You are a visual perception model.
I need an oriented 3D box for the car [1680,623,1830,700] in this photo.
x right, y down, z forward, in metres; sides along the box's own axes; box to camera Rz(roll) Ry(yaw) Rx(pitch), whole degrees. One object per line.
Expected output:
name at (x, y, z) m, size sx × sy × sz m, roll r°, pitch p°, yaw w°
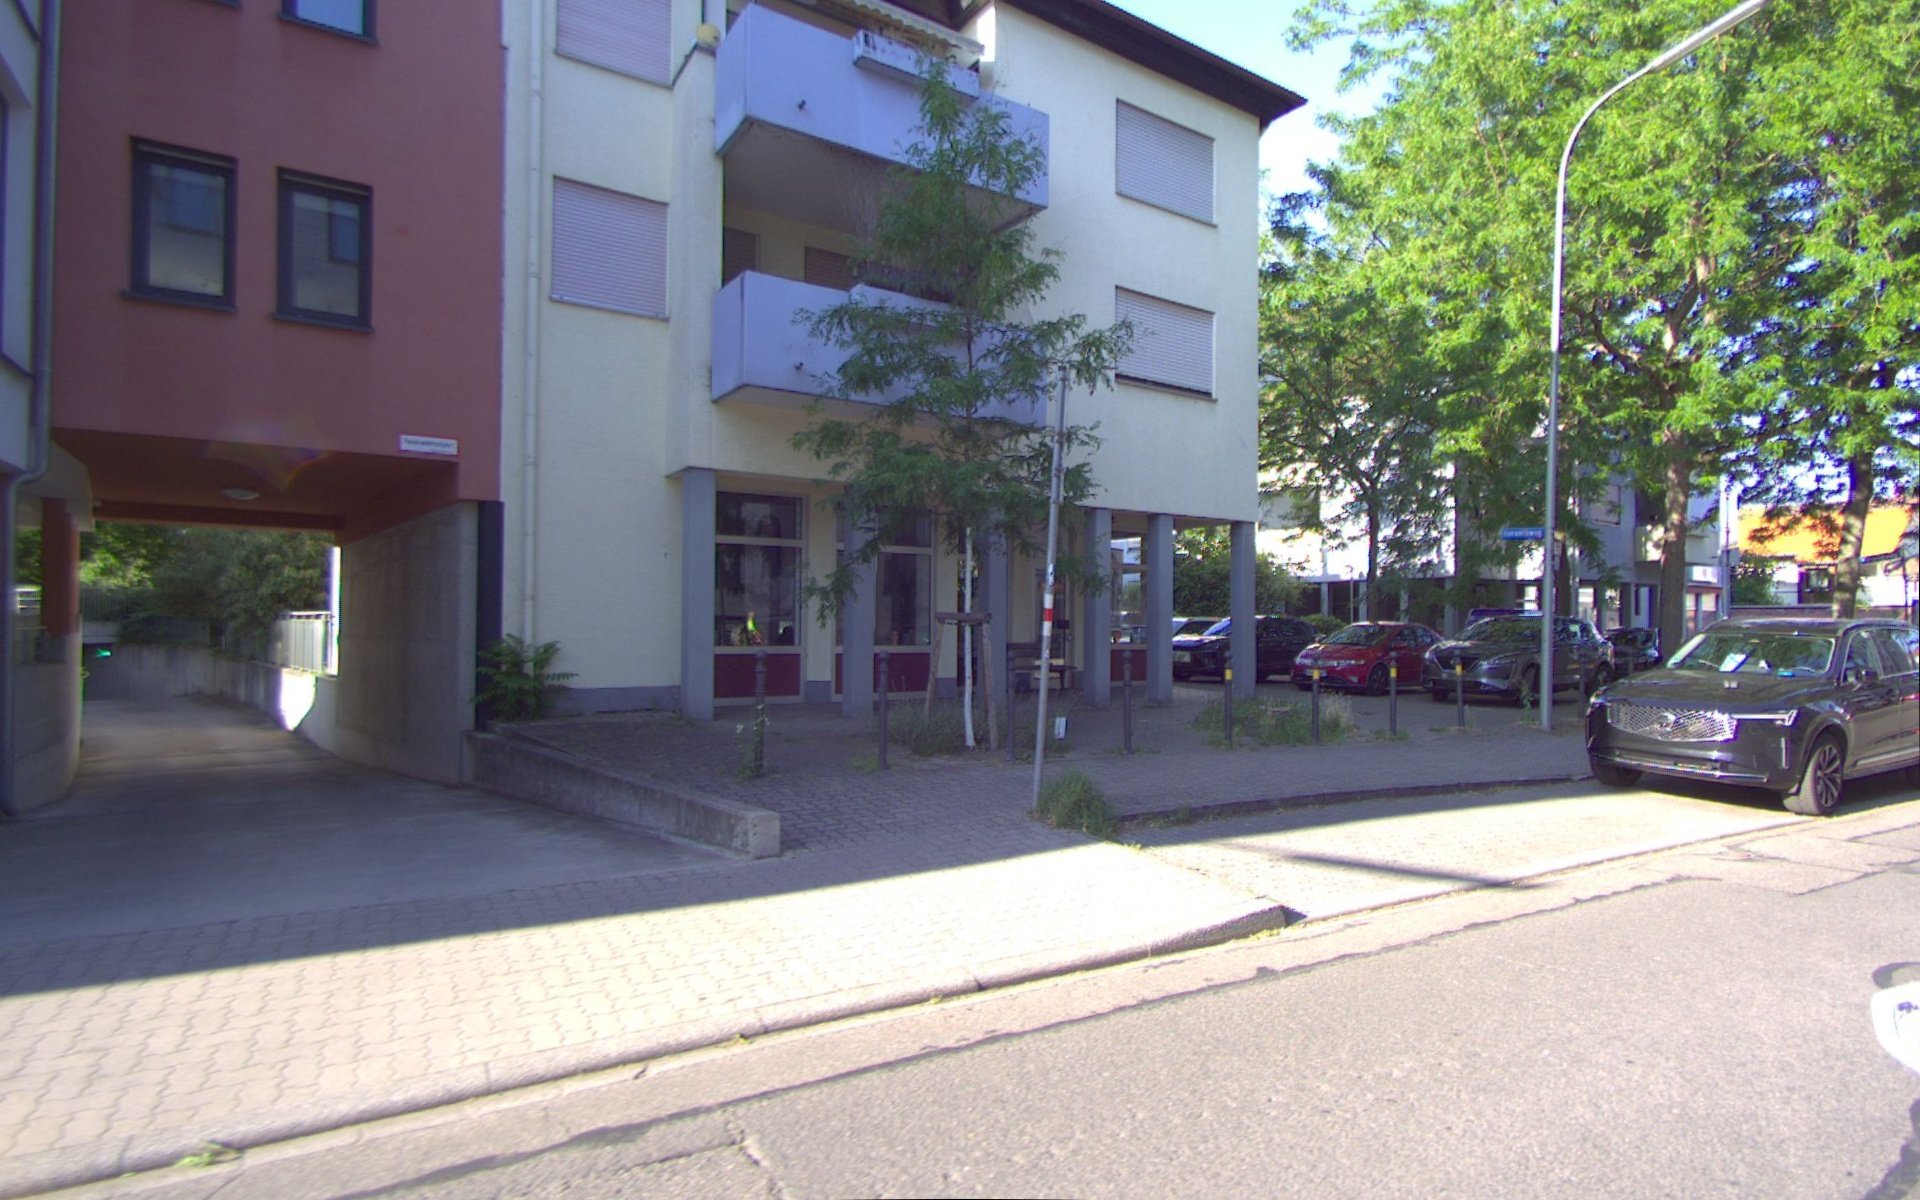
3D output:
car at (19.718, 1.453, 24.868) m, size 3.923 × 1.712 × 1.779 m, roll 1°, pitch 1°, yaw -34°

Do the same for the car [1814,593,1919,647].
car at (29.003, 0.619, 30.854) m, size 1.687 × 1.596 × 3.888 m, roll 1°, pitch -1°, yaw -26°

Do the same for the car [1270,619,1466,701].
car at (8.389, 1.152, 20.533) m, size 4.100 × 1.468 × 1.708 m, roll 1°, pitch 1°, yaw -34°

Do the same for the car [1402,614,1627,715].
car at (10.389, 1.107, 18.718) m, size 4.575 × 1.608 × 1.845 m, roll 1°, pitch 1°, yaw -35°

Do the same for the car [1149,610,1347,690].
car at (6.639, 1.076, 22.975) m, size 4.573 × 1.608 × 1.846 m, roll 1°, pitch 1°, yaw -34°

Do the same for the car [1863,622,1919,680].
car at (27.668, 1.430, 27.635) m, size 1.686 × 1.596 × 3.891 m, roll 1°, pitch -1°, yaw -23°

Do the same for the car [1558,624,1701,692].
car at (17.696, 1.482, 26.530) m, size 3.632 × 1.608 × 1.847 m, roll 1°, pitch 1°, yaw -33°

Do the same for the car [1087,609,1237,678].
car at (5.140, 1.058, 25.410) m, size 3.633 × 1.608 × 1.648 m, roll 1°, pitch 1°, yaw -34°

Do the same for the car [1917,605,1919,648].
car at (37.829, 0.990, 36.789) m, size 1.695 × 1.596 × 3.870 m, roll 1°, pitch -1°, yaw -38°

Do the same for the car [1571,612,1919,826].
car at (8.589, 1.058, 10.530) m, size 4.554 × 1.815 × 1.844 m, roll 1°, pitch -1°, yaw -31°
